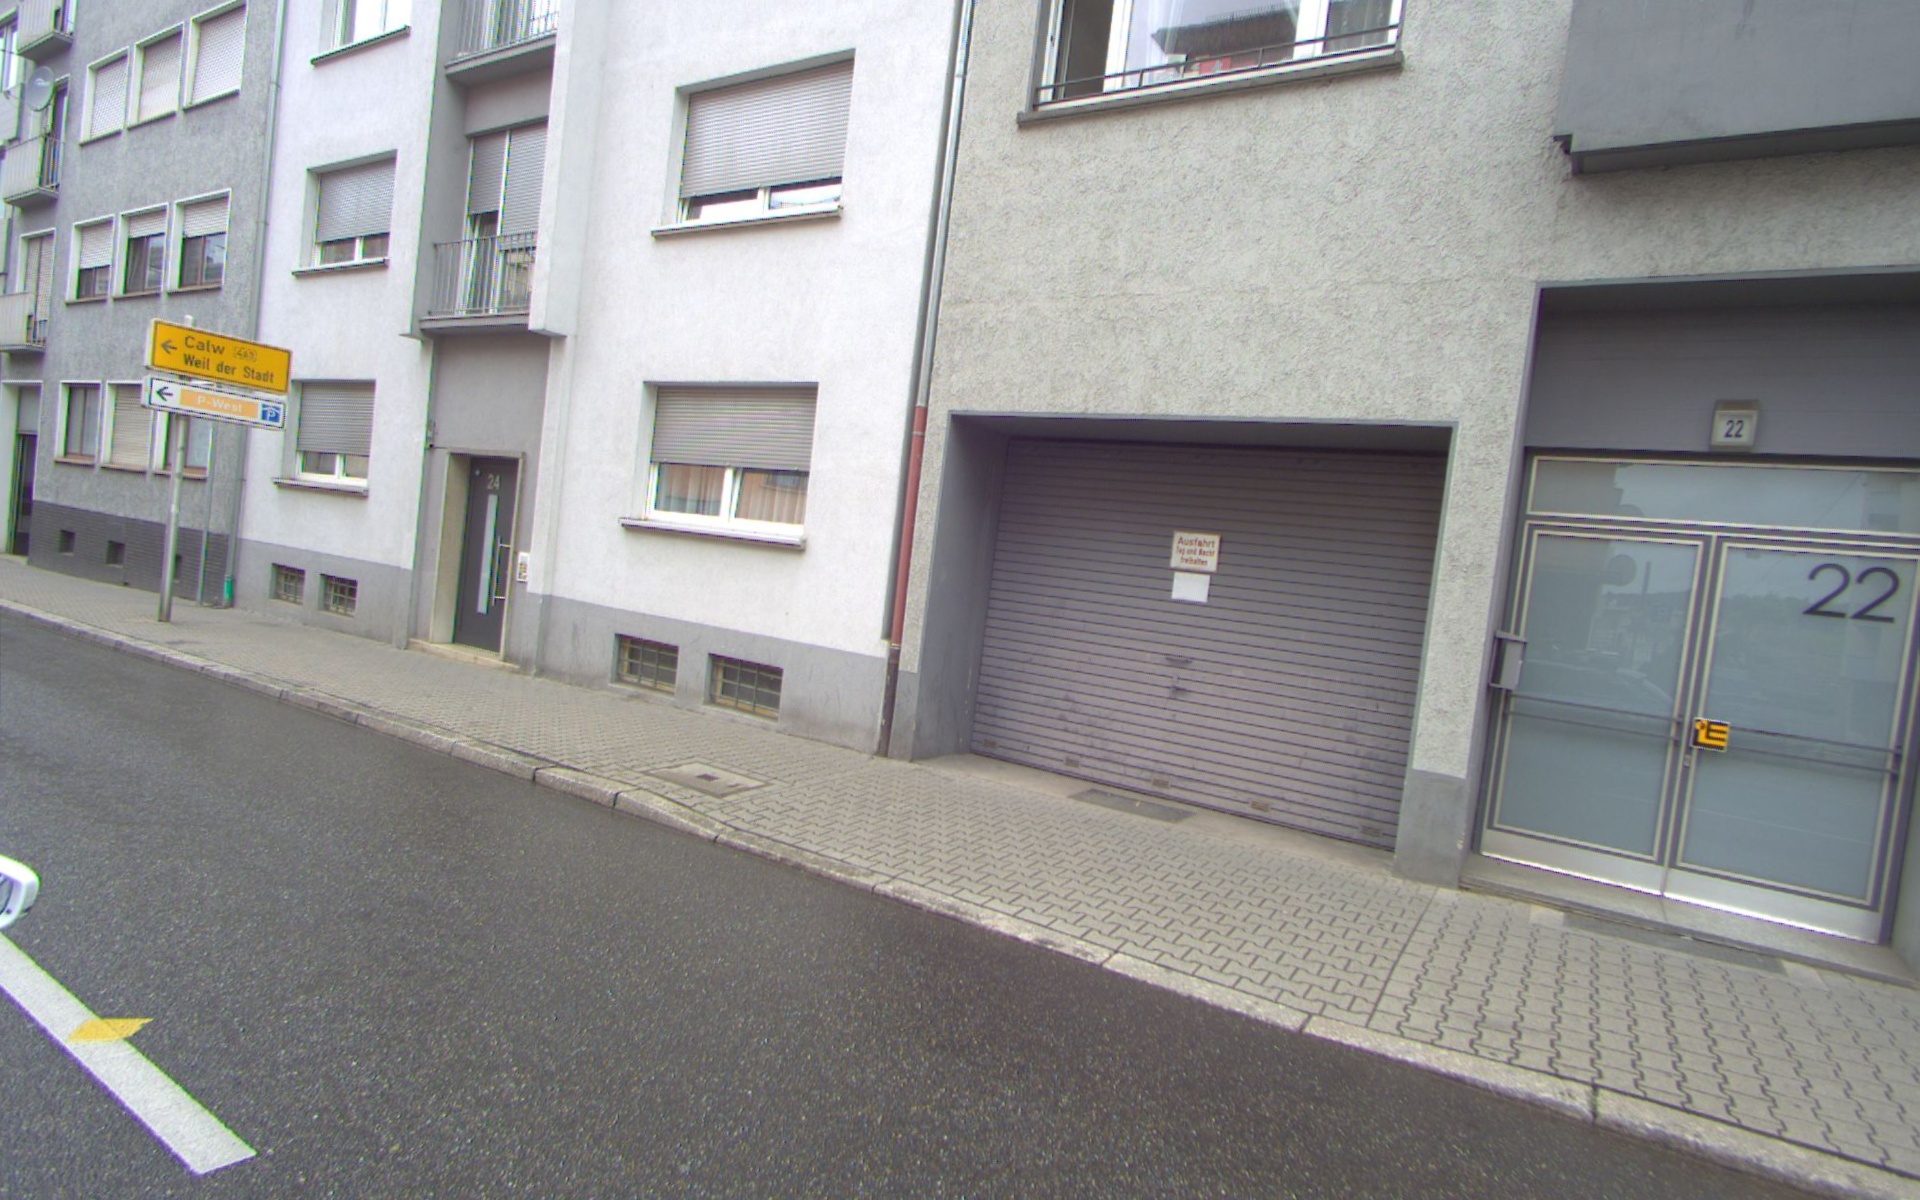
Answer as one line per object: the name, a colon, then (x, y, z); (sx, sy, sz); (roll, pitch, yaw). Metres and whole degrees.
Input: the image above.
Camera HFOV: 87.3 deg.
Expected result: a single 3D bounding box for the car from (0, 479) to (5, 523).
car: (-11.820, -0.674, 10.414); (3.934, 1.600, 1.769); (7, 0, 32)
